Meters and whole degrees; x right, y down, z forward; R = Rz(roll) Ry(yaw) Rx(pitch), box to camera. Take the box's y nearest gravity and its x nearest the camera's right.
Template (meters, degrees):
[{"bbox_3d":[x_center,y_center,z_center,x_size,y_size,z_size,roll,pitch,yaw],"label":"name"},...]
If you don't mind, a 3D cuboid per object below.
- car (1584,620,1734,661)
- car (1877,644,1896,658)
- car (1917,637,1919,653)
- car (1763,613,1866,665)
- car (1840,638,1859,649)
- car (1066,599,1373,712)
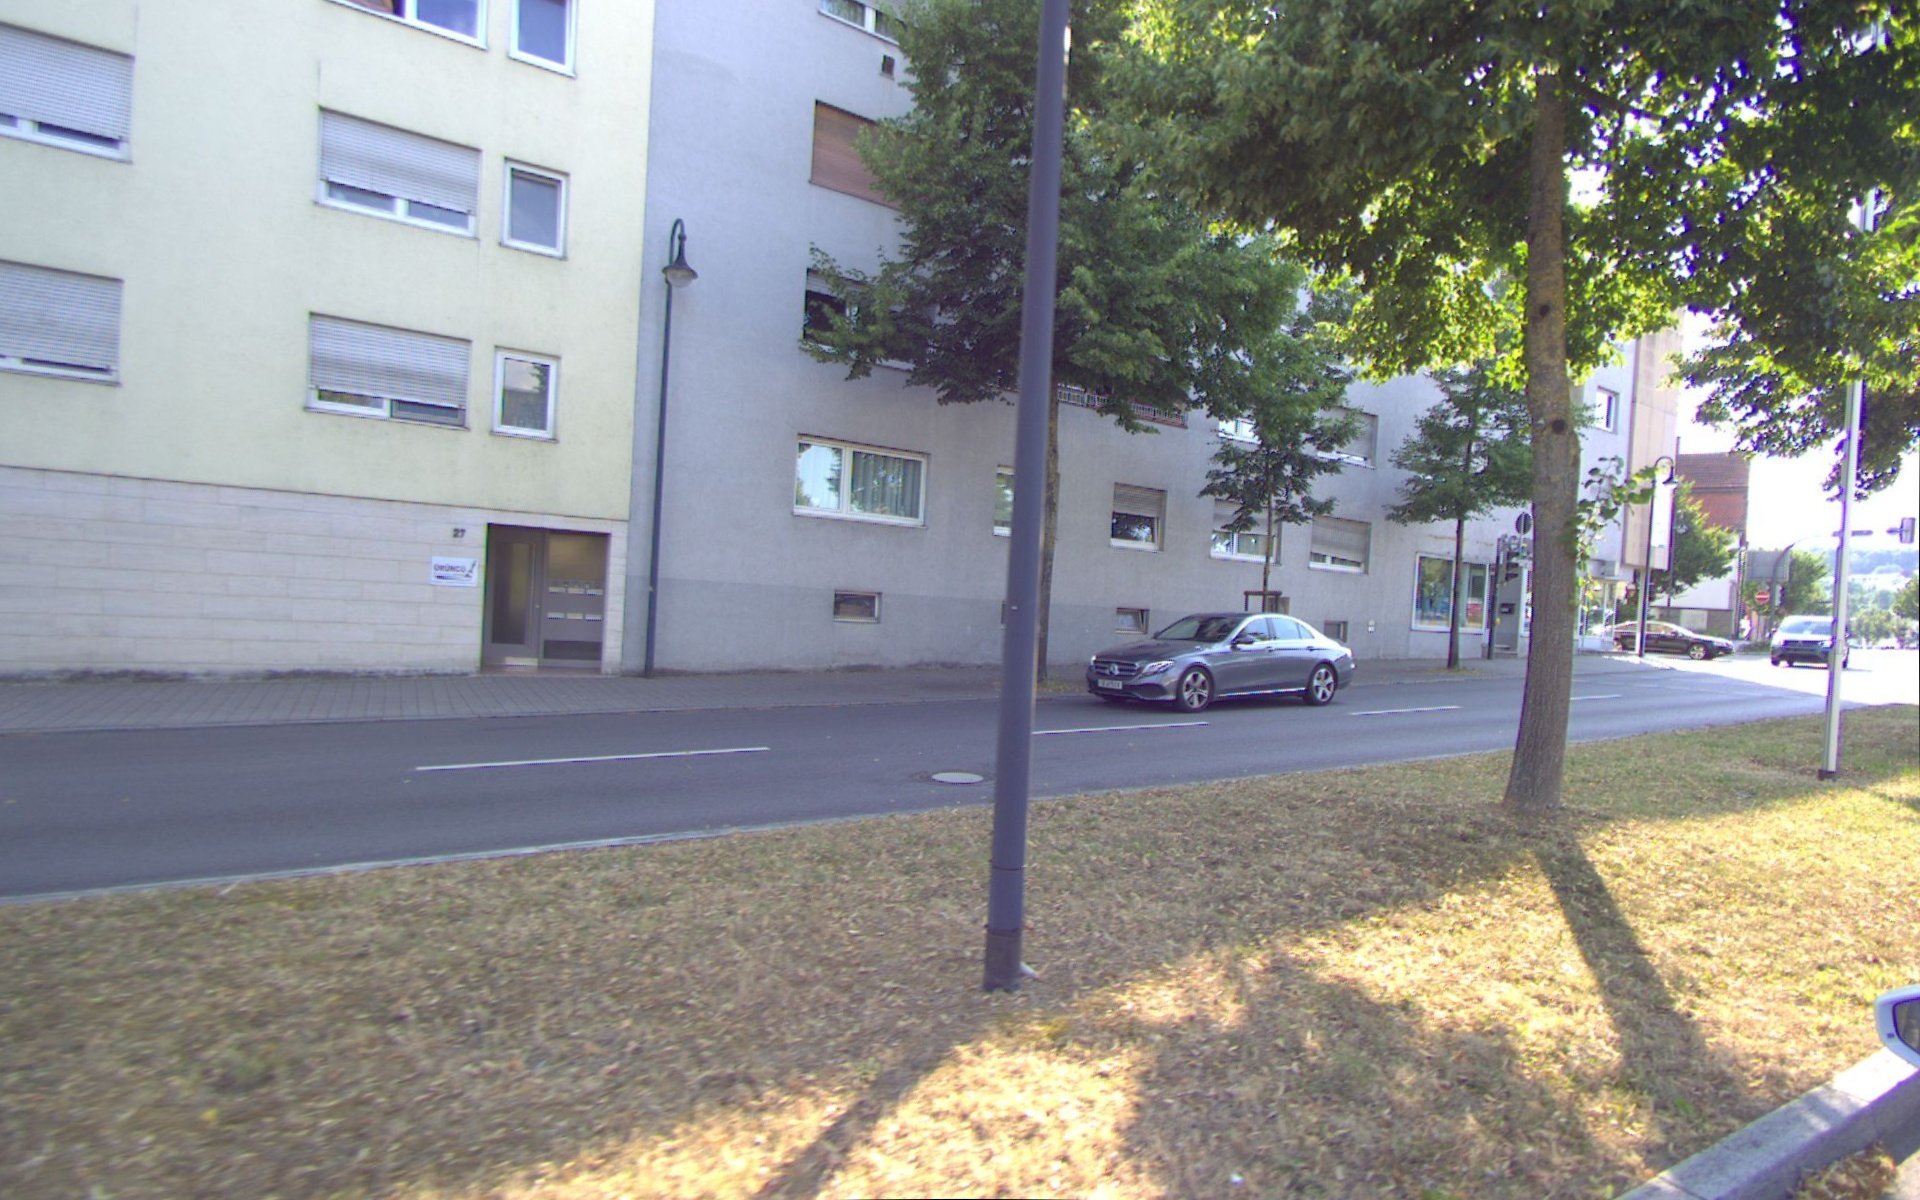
[{"bbox_3d":[28.455,1.609,40.983,4.807,1.456,1.906,1,-1,44],"label":"car"},{"bbox_3d":[119.454,6.539,129.535,1.710,1.701,3.979,2,0,41],"label":"car"},{"bbox_3d":[126.814,5.906,131.796,1.754,2.040,3.976,2,0,44],"label":"car"},{"bbox_3d":[31.096,1.415,36.526,4.877,1.759,1.839,2,0,-37],"label":"car"},{"bbox_3d":[118.112,5.761,133.385,1.737,1.379,4.460,2,0,42],"label":"car"},{"bbox_3d":[4.168,0.831,15.785,4.944,1.506,1.841,2,0,-34],"label":"car"}]
